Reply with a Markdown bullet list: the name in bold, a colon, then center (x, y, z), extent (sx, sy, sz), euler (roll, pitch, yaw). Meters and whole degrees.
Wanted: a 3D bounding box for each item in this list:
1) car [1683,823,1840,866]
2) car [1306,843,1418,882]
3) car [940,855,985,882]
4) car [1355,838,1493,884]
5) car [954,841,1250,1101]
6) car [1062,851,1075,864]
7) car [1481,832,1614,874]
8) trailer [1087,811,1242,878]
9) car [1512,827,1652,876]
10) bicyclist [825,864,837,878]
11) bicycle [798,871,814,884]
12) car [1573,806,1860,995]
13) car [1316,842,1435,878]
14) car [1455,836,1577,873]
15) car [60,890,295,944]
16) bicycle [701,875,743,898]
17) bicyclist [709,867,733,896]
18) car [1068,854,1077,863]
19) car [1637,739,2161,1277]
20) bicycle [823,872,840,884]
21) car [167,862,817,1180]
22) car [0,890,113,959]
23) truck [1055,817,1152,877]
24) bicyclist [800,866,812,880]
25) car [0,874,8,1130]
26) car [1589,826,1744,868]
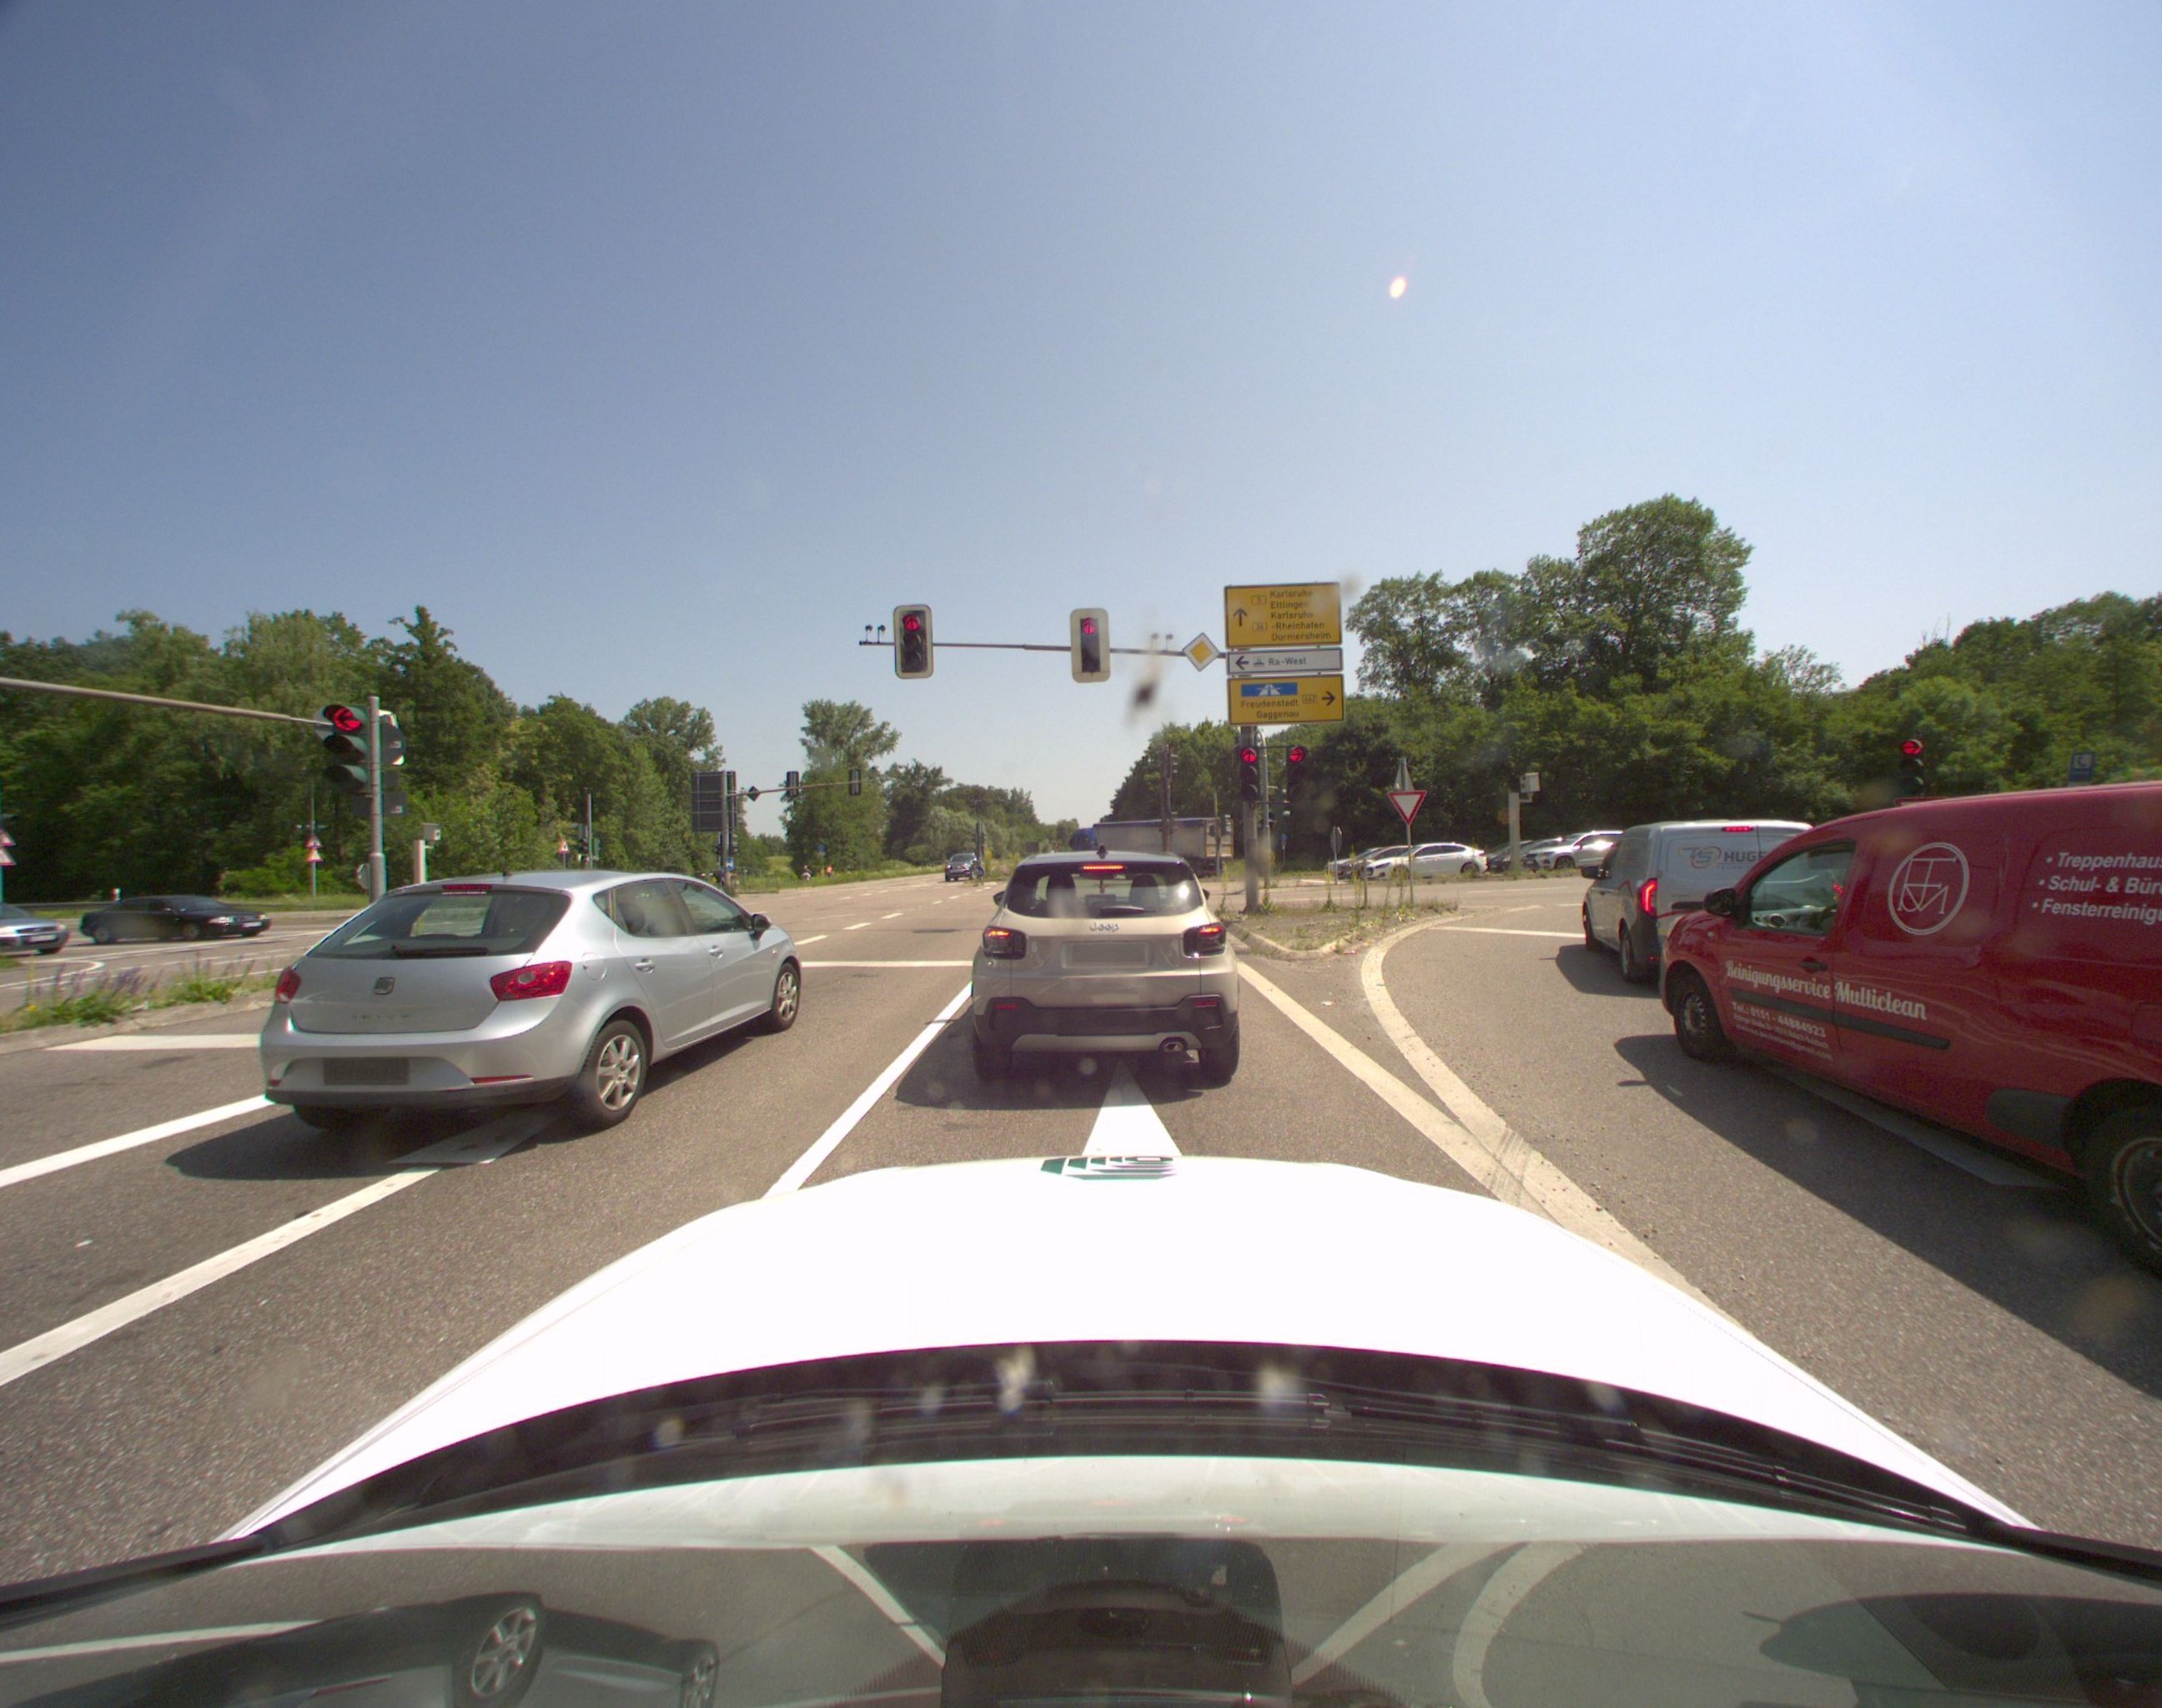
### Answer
- **car**: center (26.041, -0.340, 31.267), extent (4.315, 1.414, 1.974), euler (-3, -1, 1)
- **car**: center (12.033, 0.347, 35.087), extent (4.080, 1.447, 1.994), euler (-2, 0, -1)
- **car**: center (-7.935, 0.938, 55.140), extent (1.986, 1.678, 5.367), euler (-3, 0, 2)
- **car**: center (13.080, 0.263, 31.226), extent (4.406, 1.535, 1.999), euler (-2, 0, -1)
- **car**: center (0.187, 0.707, 6.913), extent (1.761, 1.535, 4.002), euler (-1, 0, 2)
- **car**: center (-2.091, 0.590, 136.373), extent (1.986, 2.013, 4.556), euler (-2, 0, 2)
- **car**: center (19.694, -0.019, 34.517), extent (4.404, 1.535, 2.122), euler (-2, -1, 0)
- **trailer**: center (5.209, -0.500, 53.400), extent (3.411, 3.989, 10.676), euler (0, -1, -41)
- **car**: center (19.255, -0.109, 31.454), extent (4.157, 1.659, 2.000), euler (-2, 0, 1)
- **bicyclist**: center (-22.614, 1.530, 73.642), extent (0.752, 1.195, 0.594), euler (-3, 0, 11)
- **bicycle**: center (-24.216, 2.062, 71.817), extent (0.600, 1.006, 1.560), euler (-3, -1, 12)
- **car**: center (7.312, 0.426, 9.876), extent (1.740, 1.773, 4.136), euler (-2, 0, 24)
- **car**: center (13.889, 0.305, 38.661), extent (4.913, 1.498, 2.021), euler (-2, -1, 1)
- **car**: center (20.330, 0.018, 38.220), extent (4.600, 1.498, 2.112), euler (-2, -1, 1)
- **car**: center (-27.324, 1.884, 24.770), extent (4.788, 1.290, 2.106), euler (-2, 0, 1)
- **bicycle**: center (-18.692, 1.691, 42.456), extent (0.715, 1.063, 1.881), euler (-2, 0, 38)
- **bicyclist**: center (-18.746, 1.415, 42.420), extent (0.914, 1.459, 0.721), euler (-2, 0, 38)
- **car**: center (-1.967, 1.000, 184.009), extent (1.767, 2.014, 4.001), euler (0, -1, 2)
- **car**: center (4.858, 0.506, 4.131), extent (1.780, 1.822, 4.511), euler (-1, 0, 12)
- **bicycle**: center (-22.563, 2.154, 73.709), extent (0.672, 1.005, 1.806), euler (-3, 0, 11)
- **car**: center (-3.349, 0.790, 5.681), extent (1.659, 1.430, 3.830), euler (0, 0, 2)
- **car**: center (-28.566, 1.866, 20.923), extent (4.788, 1.567, 2.130), euler (-2, 0, 0)
- **truck**: center (1.517, -0.437, 57.817), extent (3.361, 3.989, 6.456), euler (0, -1, -41)
- **bicyclist**: center (-24.229, 1.700, 71.757), extent (0.730, 1.195, 0.594), euler (-3, -1, 12)
- **car**: center (-6.752, 0.819, 2.436), extent (1.759, 1.391, 4.014), euler (0, 0, -1)
- **car**: center (25.197, -0.283, 35.186), extent (5.111, 1.533, 2.138), euler (-3, -1, 1)
